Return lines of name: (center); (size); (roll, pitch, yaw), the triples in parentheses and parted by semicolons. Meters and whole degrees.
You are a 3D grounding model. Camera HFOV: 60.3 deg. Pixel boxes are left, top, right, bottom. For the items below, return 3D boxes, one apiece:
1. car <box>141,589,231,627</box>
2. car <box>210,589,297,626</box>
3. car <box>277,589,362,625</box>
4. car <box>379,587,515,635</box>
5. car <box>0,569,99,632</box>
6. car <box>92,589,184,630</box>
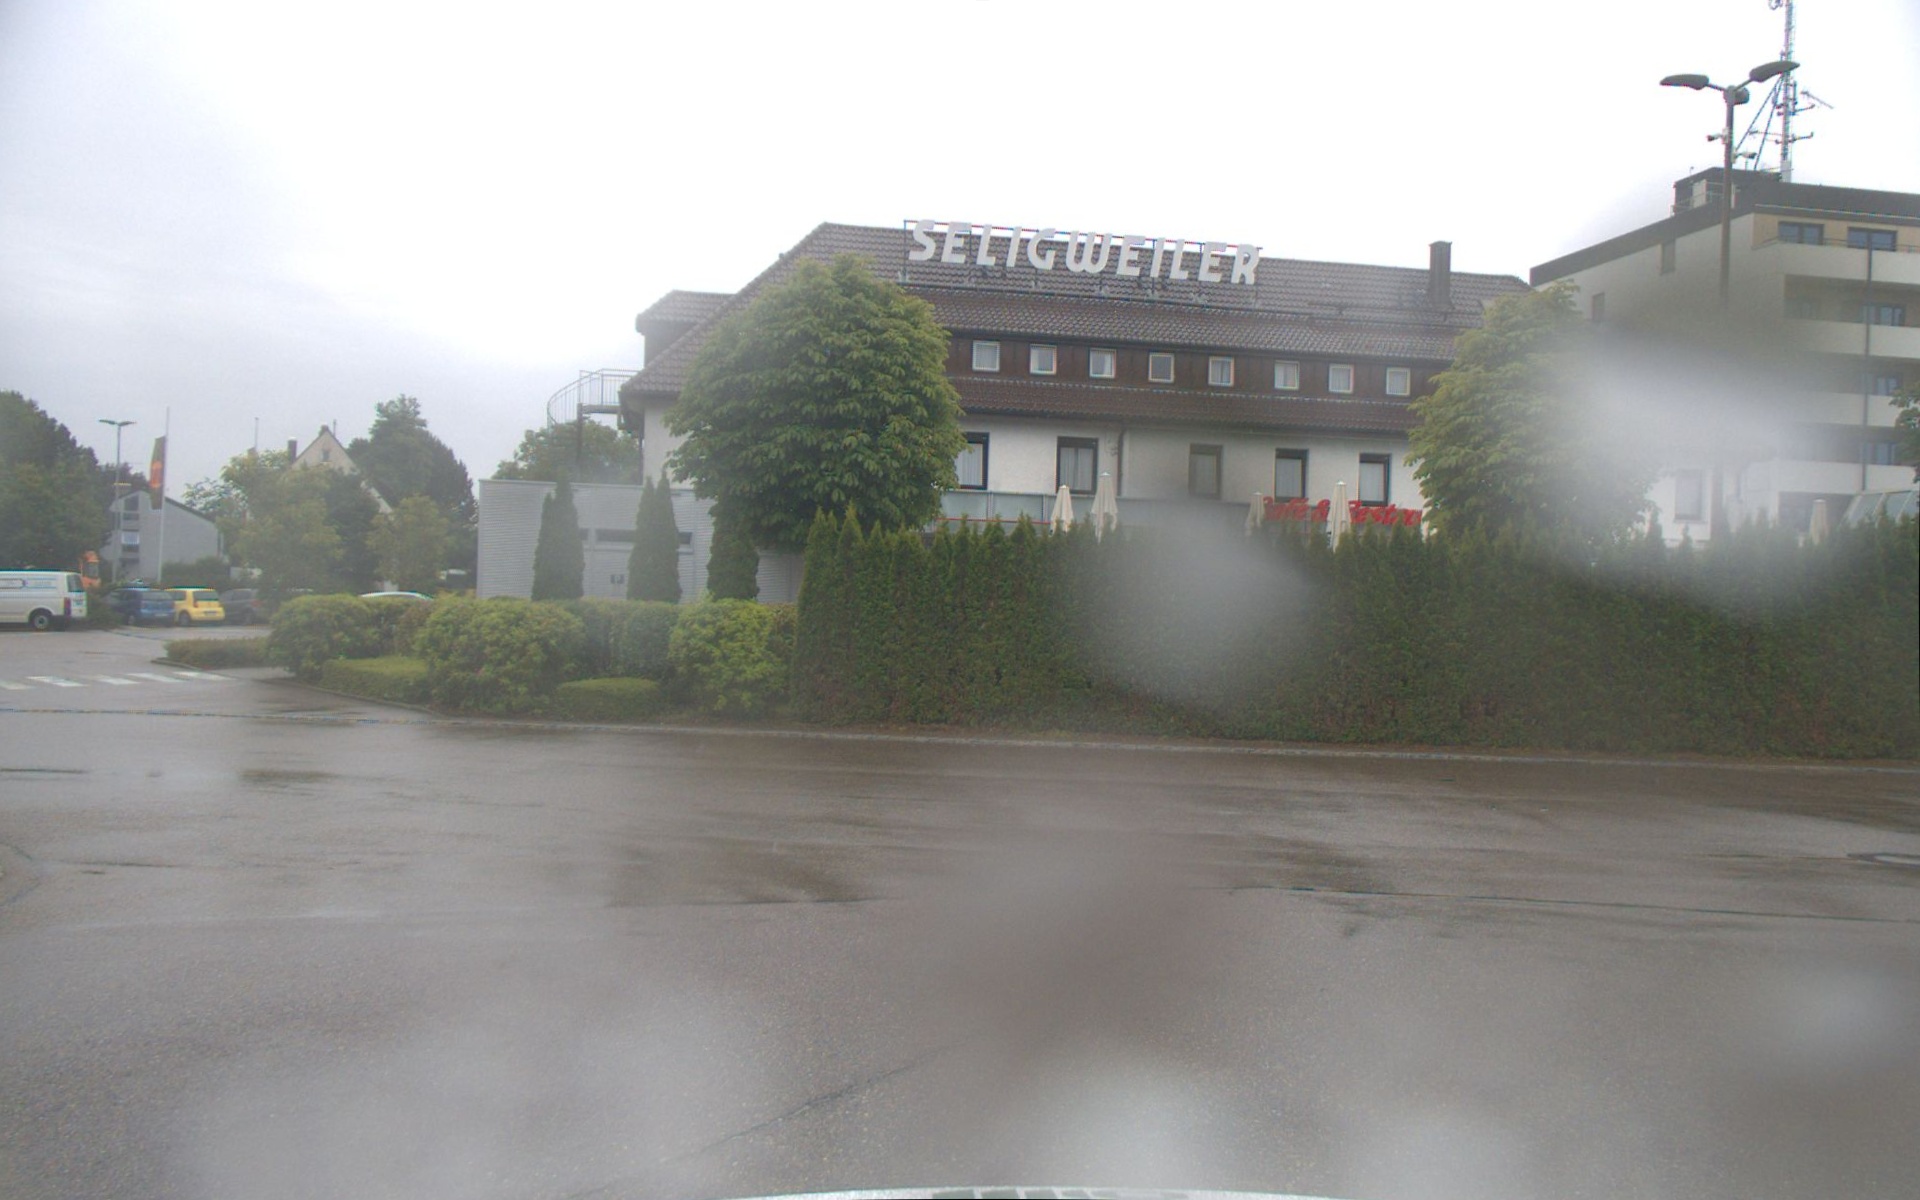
car: (-30.767, 0.297, 65.728); (3.603, 1.483, 1.581); (1, 1, 33)
car: (-28.993, 0.286, 67.844); (3.603, 1.483, 1.581); (1, 1, 33)
car: (-27.329, 0.275, 70.509); (3.603, 1.483, 1.581); (1, 1, 33)
car: (-16.803, 0.346, 54.361); (4.102, 1.524, 1.713); (0, 0, -12)
car: (-31.599, -0.005, 55.531); (4.440, 2.069, 1.640); (0, 0, -12)
car: (-31.386, 0.336, 63.144); (3.603, 1.483, 1.552); (1, 1, 33)
